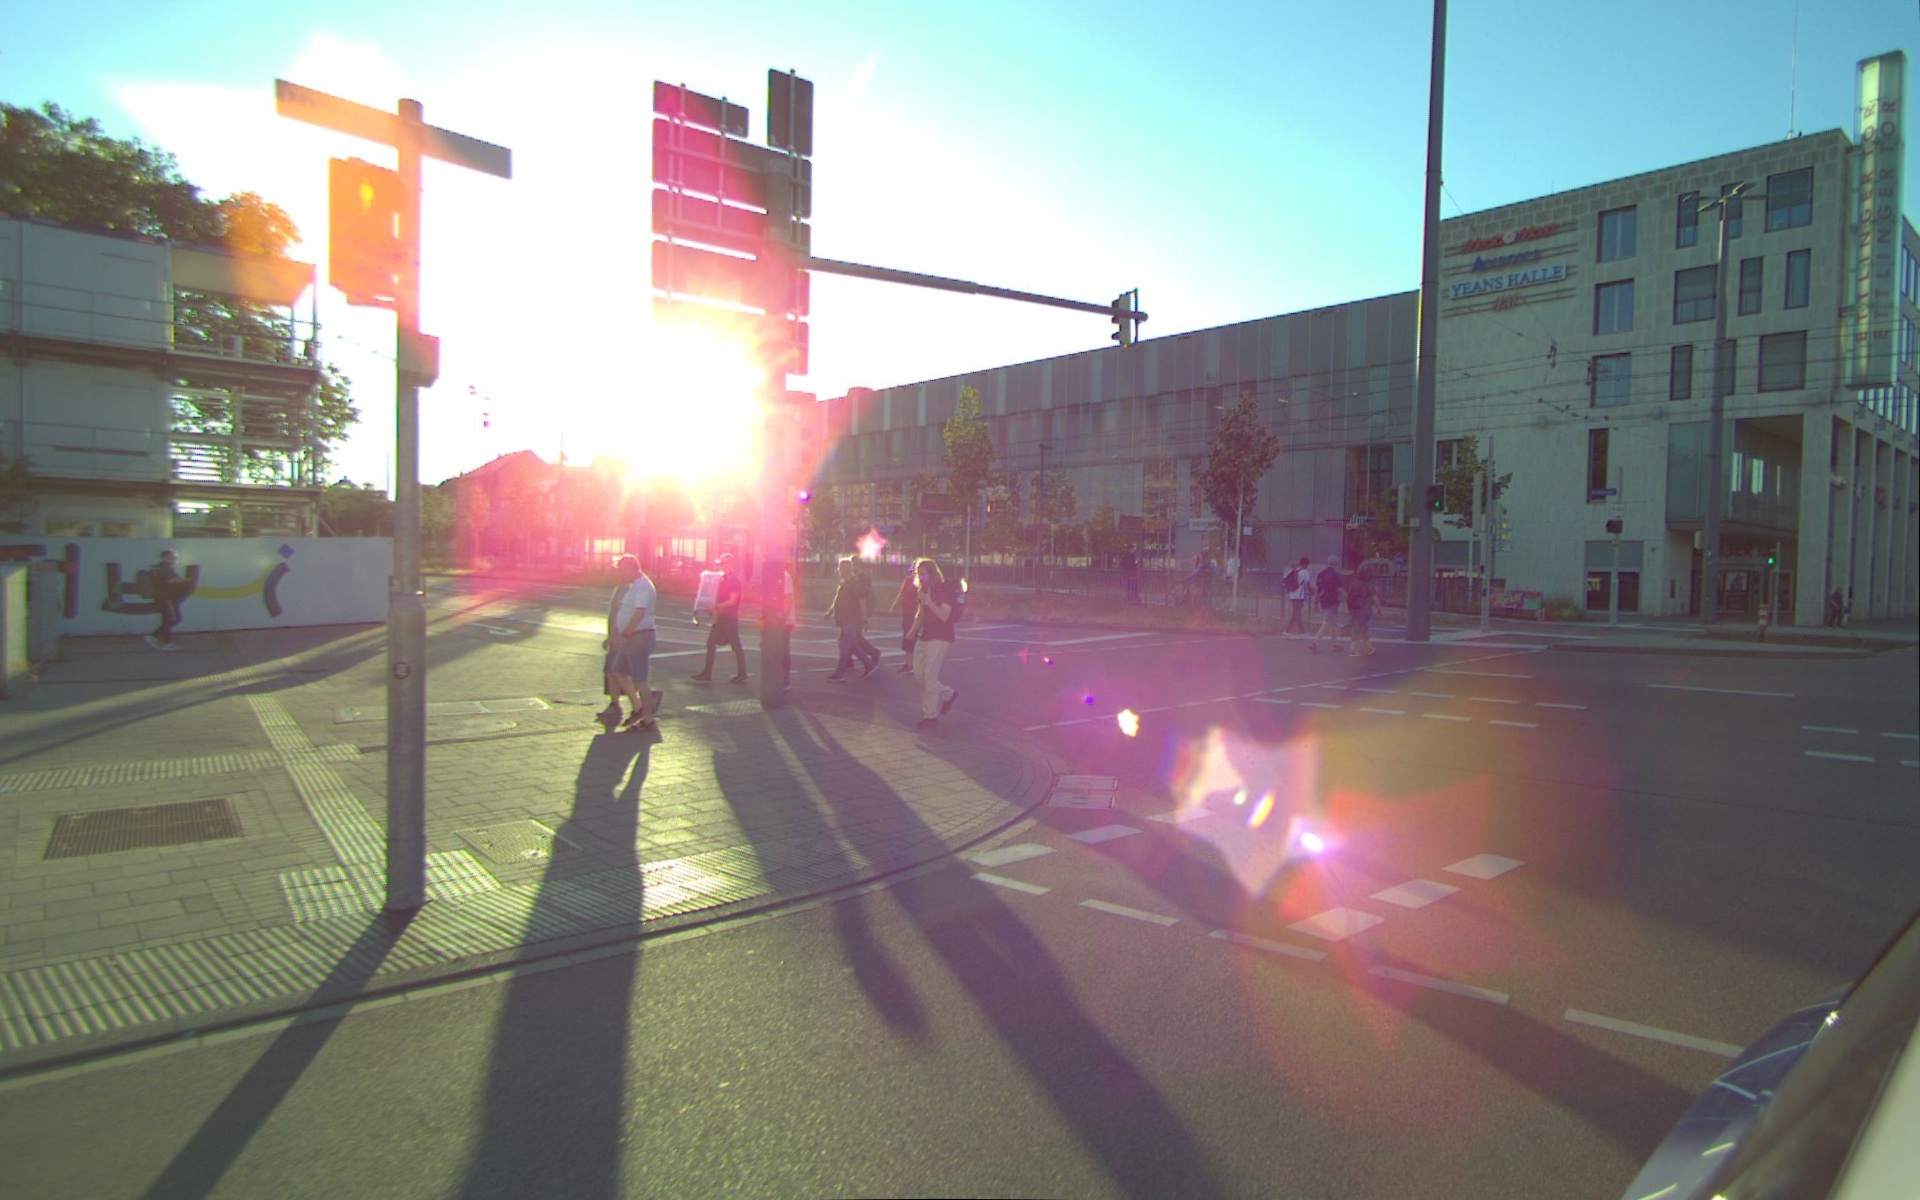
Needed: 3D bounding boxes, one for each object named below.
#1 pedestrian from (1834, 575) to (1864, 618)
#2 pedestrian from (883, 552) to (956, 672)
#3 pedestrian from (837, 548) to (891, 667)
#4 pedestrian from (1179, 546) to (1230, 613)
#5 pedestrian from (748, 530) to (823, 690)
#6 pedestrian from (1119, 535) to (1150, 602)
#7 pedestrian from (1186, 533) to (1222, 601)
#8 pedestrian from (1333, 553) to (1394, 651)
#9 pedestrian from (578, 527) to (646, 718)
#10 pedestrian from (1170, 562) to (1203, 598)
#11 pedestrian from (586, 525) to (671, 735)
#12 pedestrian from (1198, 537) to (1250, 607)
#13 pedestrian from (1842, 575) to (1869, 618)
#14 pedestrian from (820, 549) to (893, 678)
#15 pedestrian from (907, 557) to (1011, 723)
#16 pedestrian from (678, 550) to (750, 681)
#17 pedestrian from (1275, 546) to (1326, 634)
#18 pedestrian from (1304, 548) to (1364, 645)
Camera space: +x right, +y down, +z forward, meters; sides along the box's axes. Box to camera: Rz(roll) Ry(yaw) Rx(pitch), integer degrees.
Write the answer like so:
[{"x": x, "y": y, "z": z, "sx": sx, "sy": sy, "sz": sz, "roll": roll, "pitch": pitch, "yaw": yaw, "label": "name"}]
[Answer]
[{"x": 36.475, "y": -0.140, "z": 41.512, "sx": 0.820, "sy": 1.727, "sz": 0.764, "roll": 0, "pitch": 2, "yaw": -41, "label": "pedestrian"}, {"x": -0.611, "y": 0.165, "z": 15.230, "sx": 0.855, "sy": 1.733, "sz": 0.644, "roll": 0, "pitch": 2, "yaw": -37, "label": "pedestrian"}, {"x": -1.473, "y": 0.096, "z": 15.531, "sx": 0.566, "sy": 1.767, "sz": 0.644, "roll": -2, "pitch": 3, "yaw": -37, "label": "pedestrian"}, {"x": 6.569, "y": -0.561, "z": 27.226, "sx": 0.986, "sy": 1.744, "sz": 0.873, "roll": 0, "pitch": 5, "yaw": -12, "label": "pedestrian"}, {"x": -2.248, "y": 0.109, "z": 13.022, "sx": 0.748, "sy": 1.993, "sz": 0.644, "roll": -1, "pitch": 2, "yaw": -37, "label": "pedestrian"}, {"x": 4.953, "y": -0.889, "z": 28.767, "sx": 0.575, "sy": 1.876, "sz": 0.604, "roll": 0, "pitch": 2, "yaw": -37, "label": "pedestrian"}, {"x": 7.031, "y": -0.969, "z": 29.112, "sx": 0.882, "sy": 1.875, "sz": 0.723, "roll": 3, "pitch": 5, "yaw": 18, "label": "pedestrian"}, {"x": 7.203, "y": 0.006, "z": 18.066, "sx": 0.855, "sy": 1.679, "sz": 0.644, "roll": -3, "pitch": 4, "yaw": -37, "label": "pedestrian"}, {"x": -3.716, "y": 0.214, "z": 10.797, "sx": 0.606, "sy": 1.957, "sz": 0.646, "roll": -1, "pitch": 2, "yaw": -23, "label": "pedestrian"}, {"x": 6.386, "y": -0.572, "z": 28.577, "sx": 0.643, "sy": 0.975, "sz": 0.648, "roll": -1, "pitch": 3, "yaw": -44, "label": "pedestrian"}, {"x": -3.243, "y": 0.264, "z": 9.881, "sx": 0.608, "sy": 1.957, "sz": 0.644, "roll": 0, "pitch": 2, "yaw": -37, "label": "pedestrian"}, {"x": 7.333, "y": -0.795, "z": 28.156, "sx": 0.986, "sy": 1.875, "sz": 0.896, "roll": -1, "pitch": 6, "yaw": -27, "label": "pedestrian"}, {"x": 37.386, "y": -0.152, "z": 42.261, "sx": 0.763, "sy": 1.727, "sz": 0.821, "roll": 3, "pitch": 2, "yaw": 44, "label": "pedestrian"}, {"x": -1.462, "y": 0.165, "z": 14.265, "sx": 0.749, "sy": 1.732, "sz": 0.644, "roll": -5, "pitch": 5, "yaw": -37, "label": "pedestrian"}, {"x": -0.010, "y": 0.389, "z": 10.642, "sx": 0.855, "sy": 1.647, "sz": 0.644, "roll": 0, "pitch": 2, "yaw": -40, "label": "pedestrian"}, {"x": -3.365, "y": 0.192, "z": 13.847, "sx": 0.748, "sy": 1.733, "sz": 0.644, "roll": 0, "pitch": 2, "yaw": -36, "label": "pedestrian"}, {"x": 7.298, "y": -0.241, "z": 21.700, "sx": 0.855, "sy": 1.835, "sz": 0.644, "roll": -2, "pitch": 3, "yaw": -37, "label": "pedestrian"}, {"x": 6.940, "y": -0.083, "z": 18.801, "sx": 0.855, "sy": 1.751, "sz": 0.644, "roll": -1, "pitch": 2, "yaw": -37, "label": "pedestrian"}]
